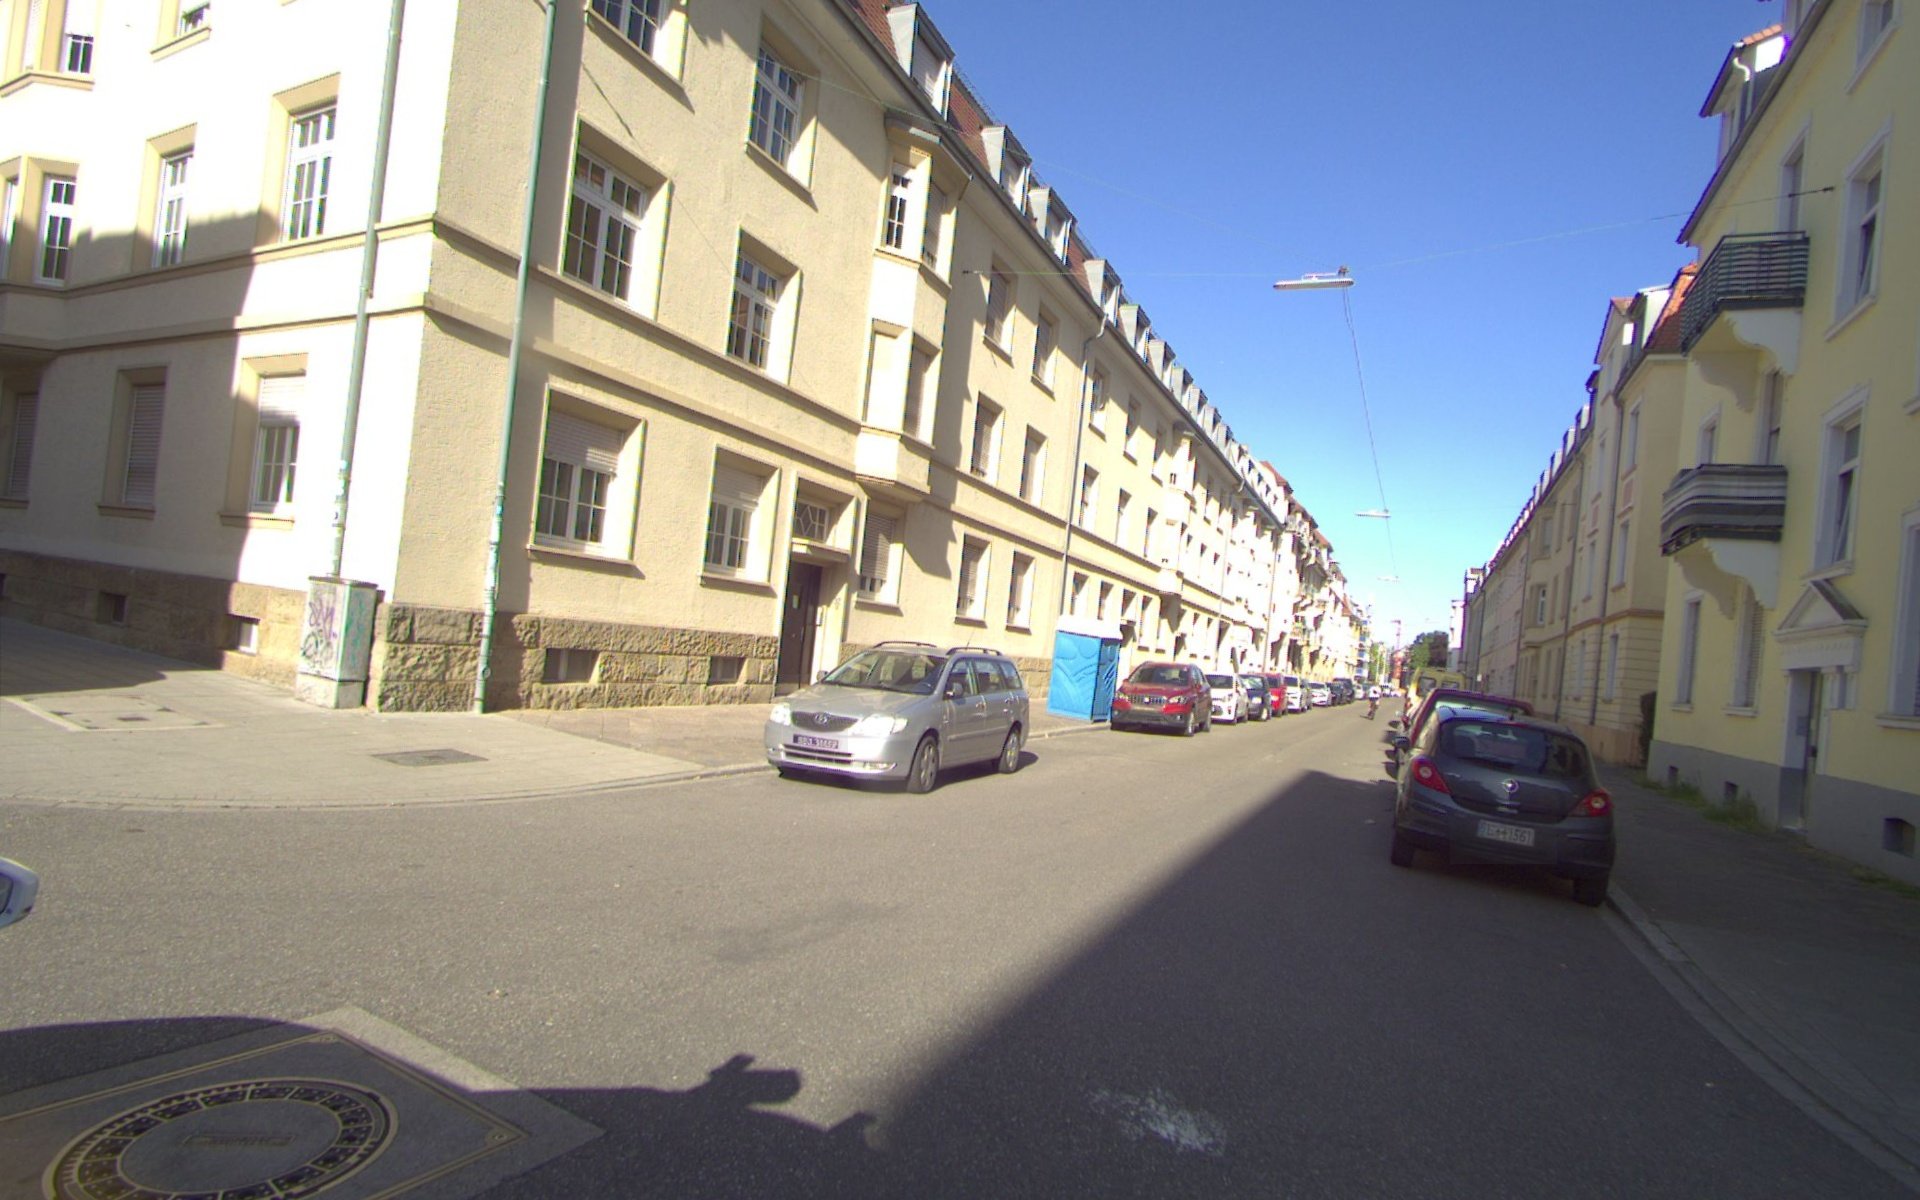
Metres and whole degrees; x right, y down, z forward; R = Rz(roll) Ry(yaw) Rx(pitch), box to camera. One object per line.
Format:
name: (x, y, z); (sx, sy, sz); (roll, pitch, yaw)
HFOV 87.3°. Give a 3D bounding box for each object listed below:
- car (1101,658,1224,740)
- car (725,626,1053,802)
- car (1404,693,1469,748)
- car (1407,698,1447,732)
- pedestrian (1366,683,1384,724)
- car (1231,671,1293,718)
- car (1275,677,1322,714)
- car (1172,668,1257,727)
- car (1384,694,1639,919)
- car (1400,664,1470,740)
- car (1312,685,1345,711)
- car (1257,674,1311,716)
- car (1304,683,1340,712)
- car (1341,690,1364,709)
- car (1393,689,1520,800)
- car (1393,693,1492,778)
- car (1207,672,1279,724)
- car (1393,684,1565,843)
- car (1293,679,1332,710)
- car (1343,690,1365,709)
car: (4.798, 2.256, 23.329); (1.796, 1.572, 4.553); (4, -3, 24)
car: (-0.532, 1.229, 11.604); (1.796, 1.485, 4.553); (4, -3, 24)
car: (15.811, 3.959, 33.529); (1.662, 1.450, 3.868); (8, -1, 24)
car: (24.597, 6.016, 53.098); (1.662, 1.450, 3.868); (8, -1, 24)
pedestrian: (18.104, 4.512, 43.884); (0.522, 1.737, 0.610); (6, -1, 24)
car: (11.640, 3.590, 38.573); (1.722, 1.545, 4.127); (4, -3, 24)
car: (16.399, 4.602, 48.654); (1.722, 1.545, 4.127); (4, -3, 24)
car: (7.629, 2.867, 29.932); (1.722, 1.487, 4.127); (4, -3, 24)
car: (5.163, 1.803, 9.858); (1.662, 1.485, 3.634); (8, -1, 24)
car: (18.106, 3.861, 38.547); (1.990, 2.472, 4.928); (8, -1, 24)
car: (24.469, 6.492, 66.728); (1.722, 1.545, 4.127); (4, -3, 24)
car: (13.867, 4.036, 42.980); (1.722, 1.545, 4.127); (4, -3, 24)
car: (22.272, 5.984, 61.813); (1.722, 1.545, 4.127); (4, -3, 24)
car: (35.278, 8.902, 90.436); (1.722, 1.545, 4.127); (4, -3, 24)
car: (8.745, 2.465, 17.979); (1.662, 1.488, 3.868); (8, -1, 24)
car: (10.577, 2.909, 22.270); (1.662, 1.450, 3.868); (8, -1, 24)
car: (9.597, 3.277, 33.887); (1.722, 1.487, 4.127); (4, -3, 24)
car: (6.919, 2.079, 13.746); (1.662, 1.618, 3.634); (8, -1, 24)
car: (20.209, 5.407, 57.558); (1.722, 1.545, 4.127); (4, -3, 24)
car: (37.291, 9.374, 95.088); (1.722, 1.545, 4.127); (4, -3, 24)
